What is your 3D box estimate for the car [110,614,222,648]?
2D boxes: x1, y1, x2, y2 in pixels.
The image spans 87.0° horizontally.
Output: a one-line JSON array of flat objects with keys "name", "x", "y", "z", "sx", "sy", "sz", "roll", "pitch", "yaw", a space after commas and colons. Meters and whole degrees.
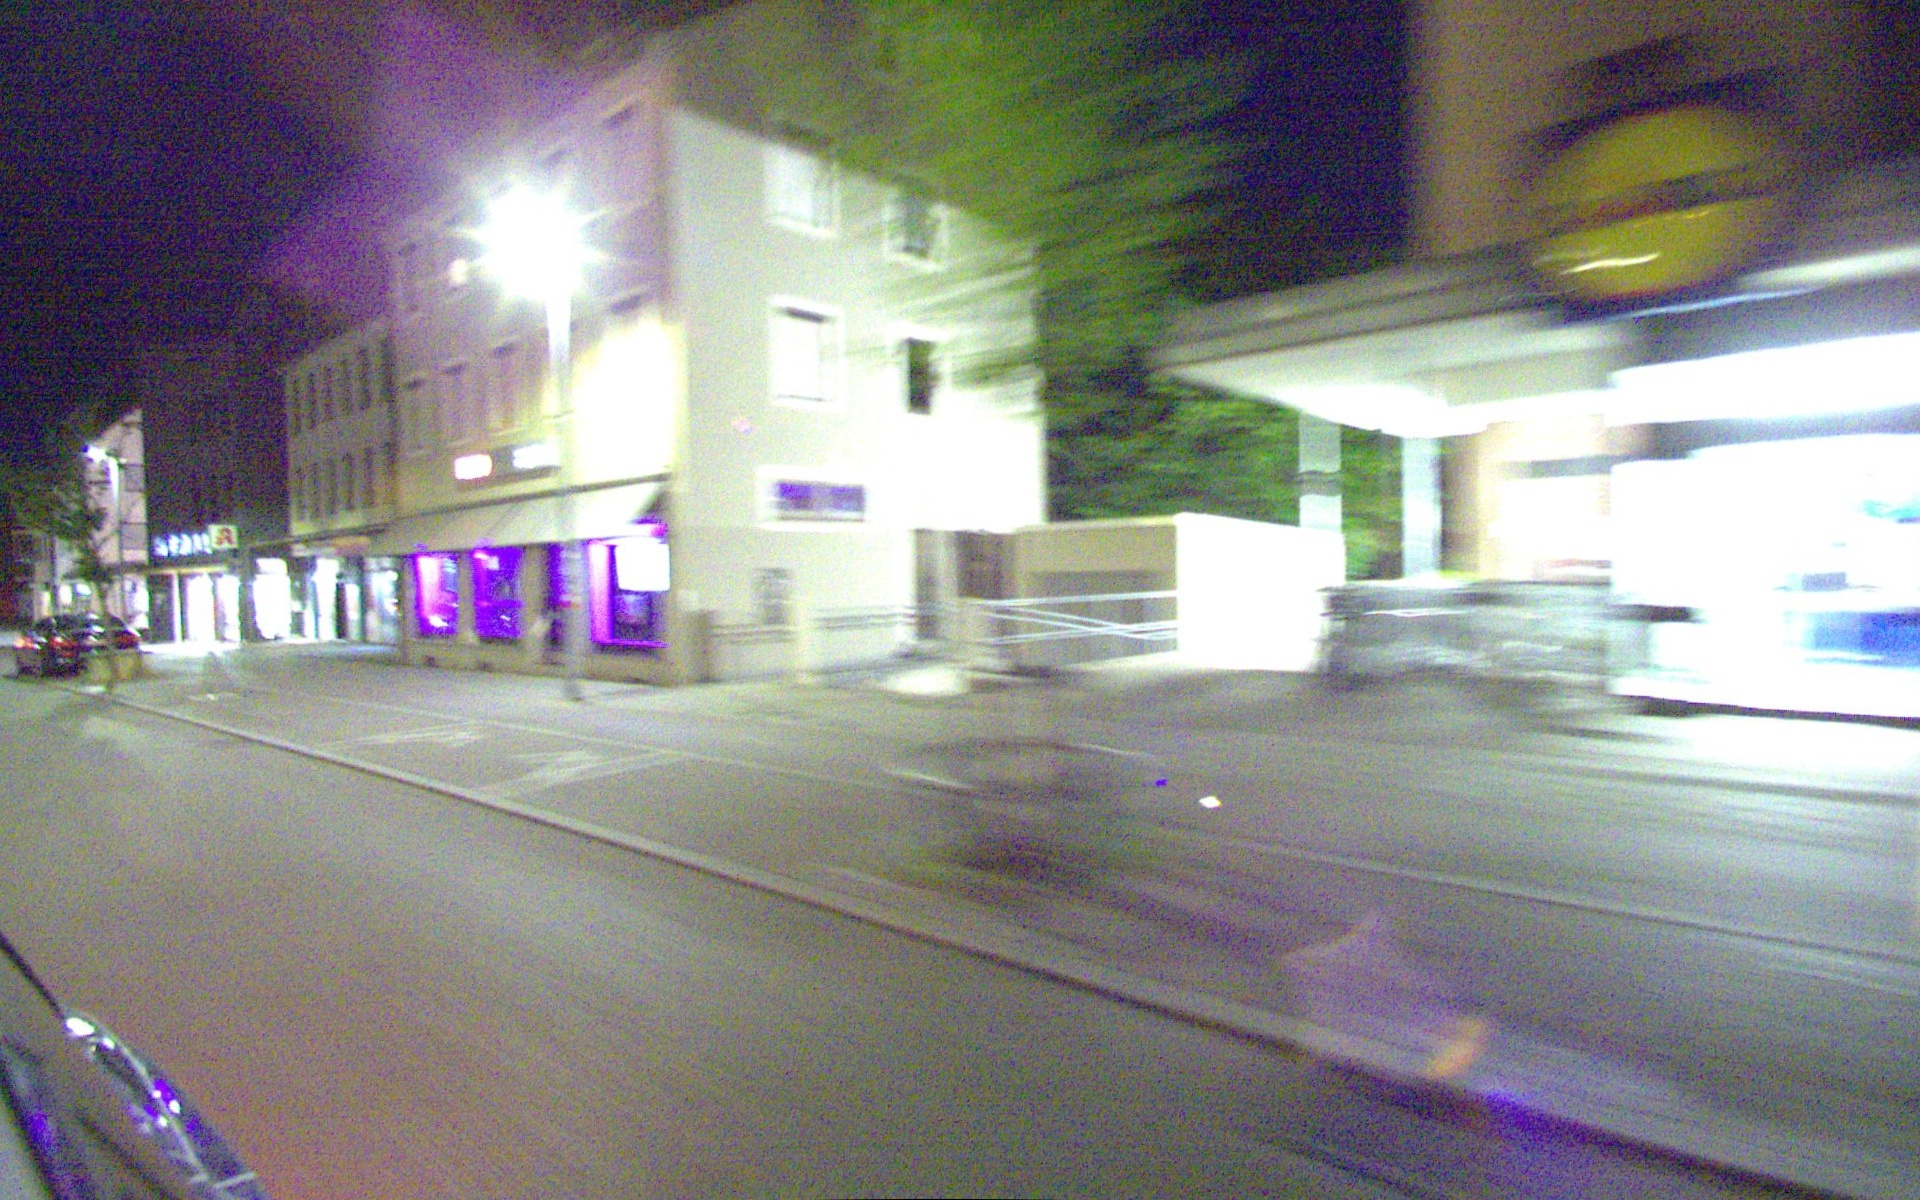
[{"name": "car", "x": -36.058, "y": 1.383, "z": 46.029, "sx": 1.651, "sy": 1.427, "sz": 3.785, "roll": -1, "pitch": -1, "yaw": 40}]

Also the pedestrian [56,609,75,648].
[{"name": "pedestrian", "x": -37.463, "y": 1.185, "z": 42.385, "sx": 0.666, "sy": 1.600, "sz": 0.522, "roll": -2, "pitch": 0, "yaw": 45}]

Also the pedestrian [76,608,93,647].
[{"name": "pedestrian", "x": -36.987, "y": 1.167, "z": 42.767, "sx": 0.521, "sy": 1.600, "sz": 0.667, "roll": -1, "pitch": 0, "yaw": -42}]

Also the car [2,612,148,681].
[{"name": "car", "x": -21.702, "y": 1.093, "z": 24.746, "sx": 4.925, "sy": 1.430, "sz": 1.878, "roll": -1, "pitch": 1, "yaw": 39}]
